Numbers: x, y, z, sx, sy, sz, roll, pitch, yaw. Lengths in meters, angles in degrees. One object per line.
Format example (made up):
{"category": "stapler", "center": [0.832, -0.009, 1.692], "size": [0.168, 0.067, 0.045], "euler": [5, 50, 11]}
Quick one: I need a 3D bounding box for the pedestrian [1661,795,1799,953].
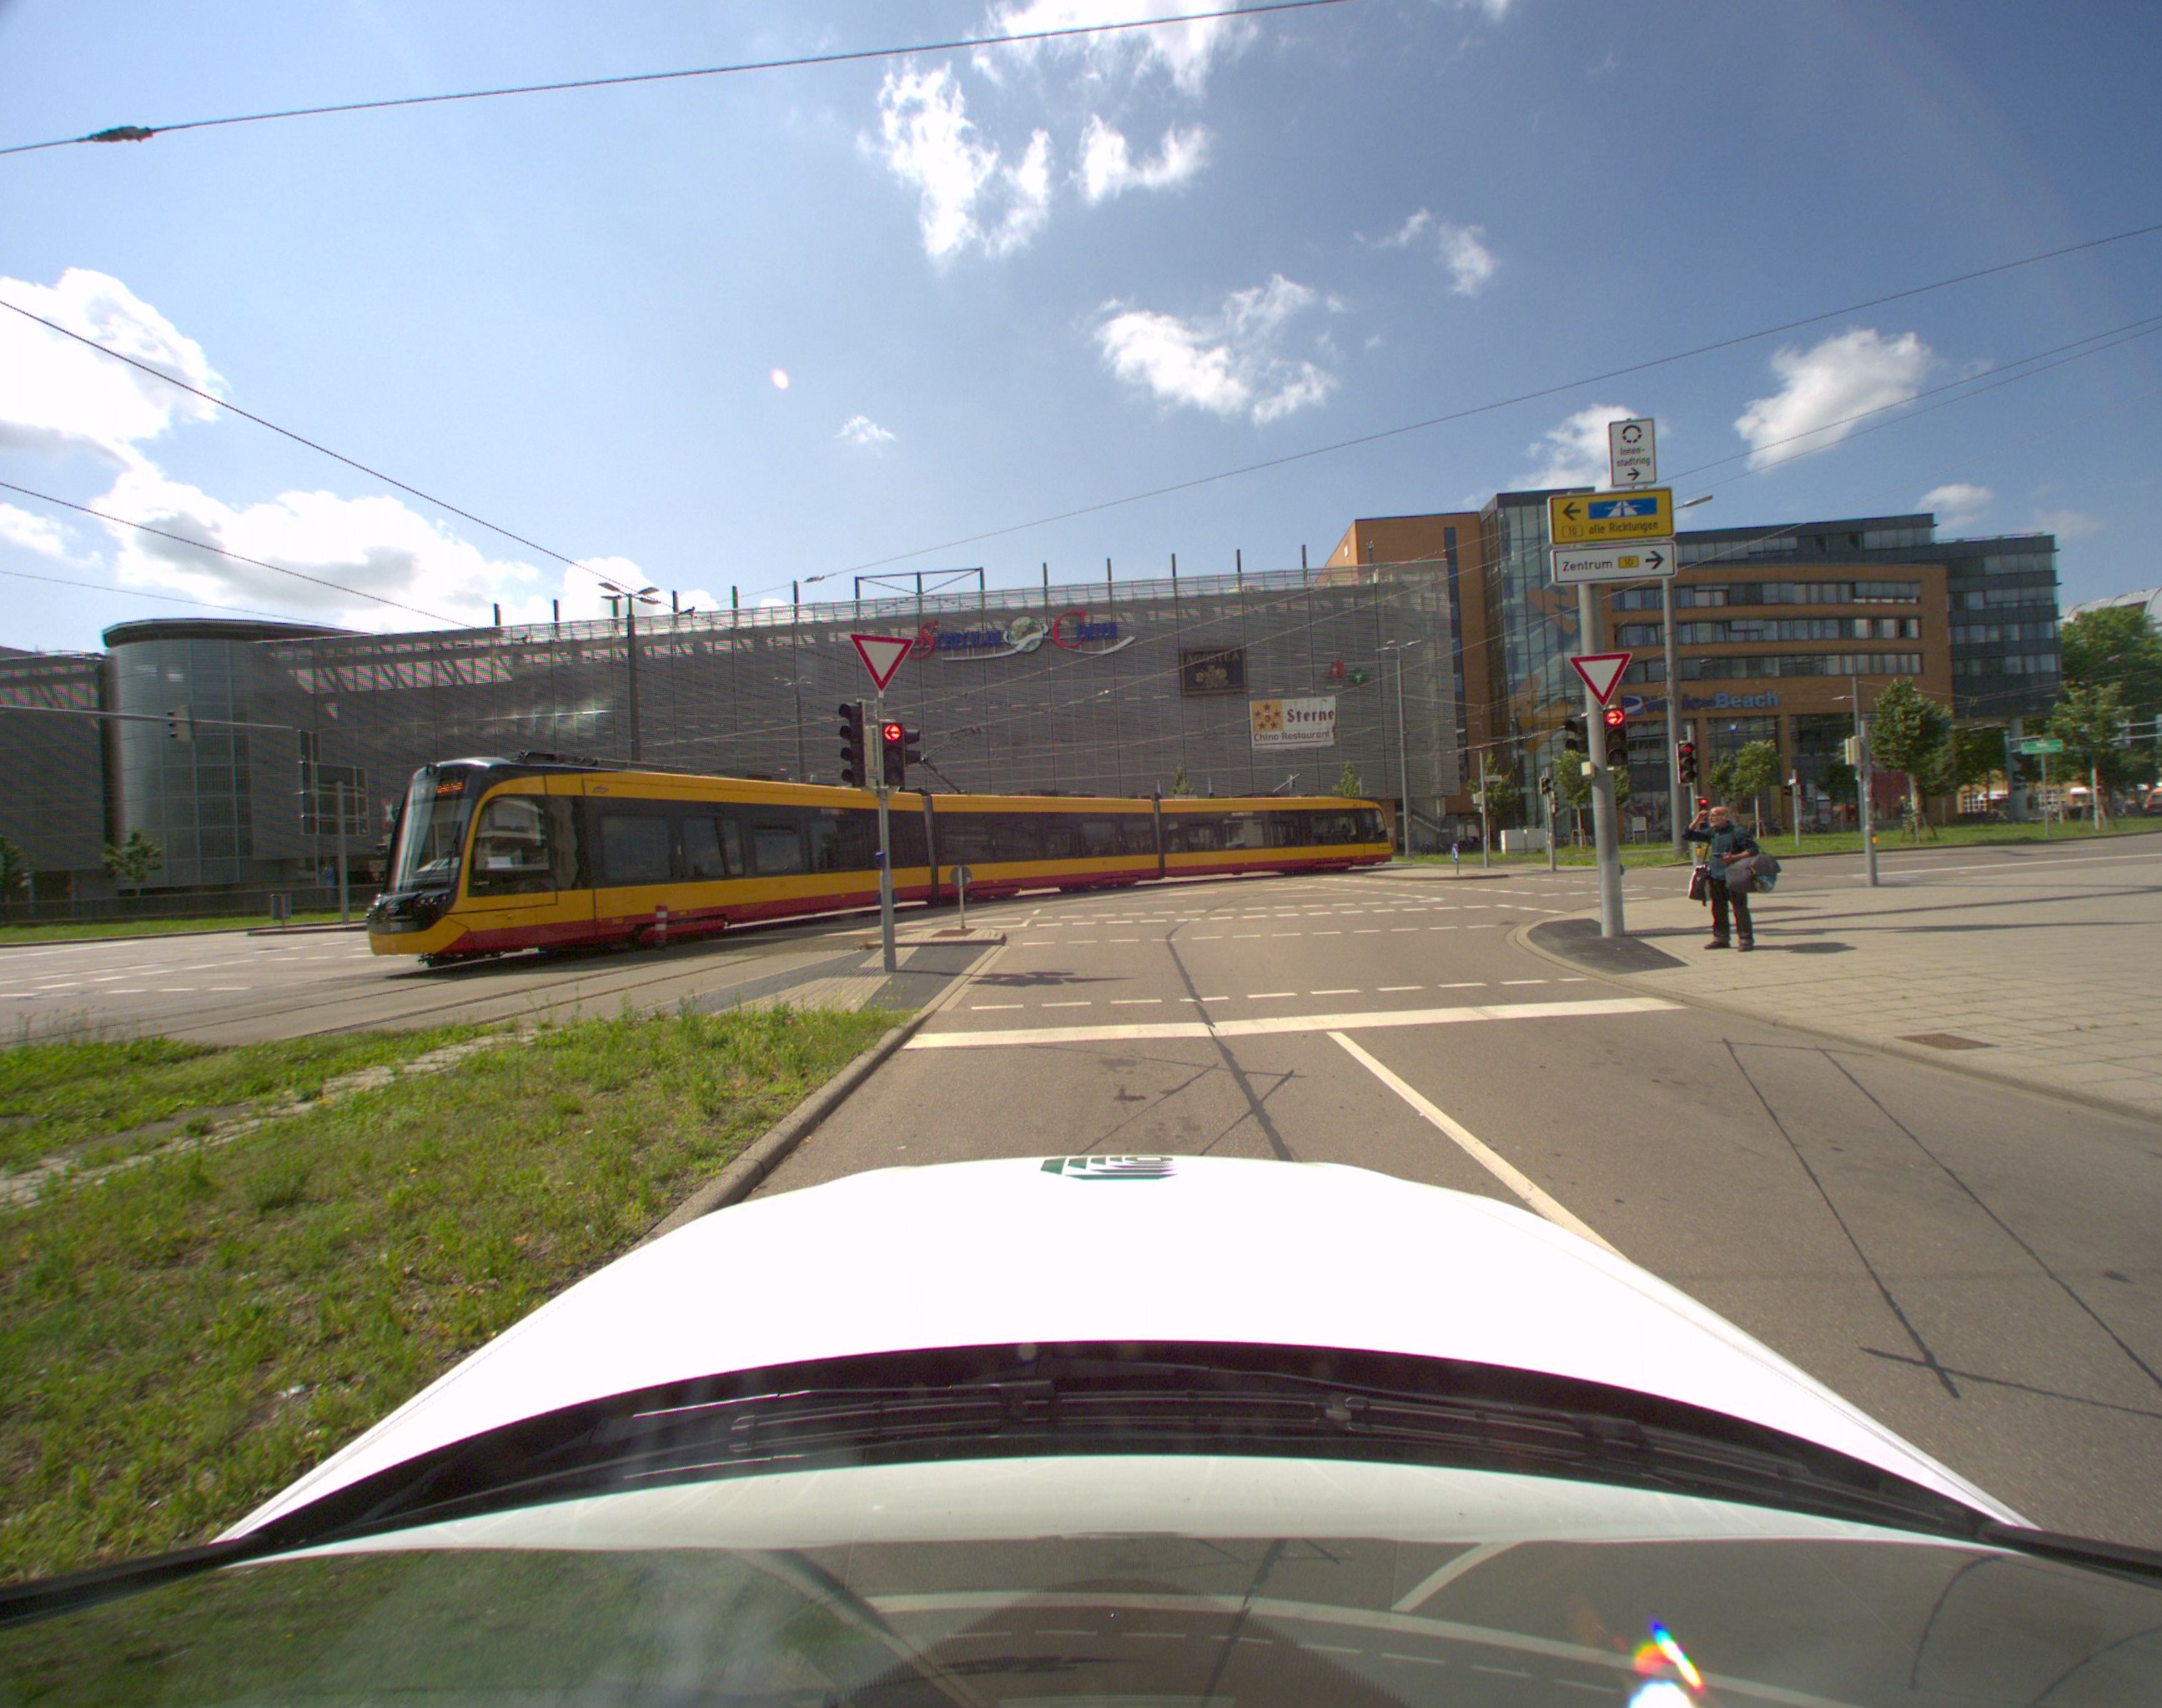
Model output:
{"category": "pedestrian", "center": [7.536, 0.219, 9.486], "size": [0.810, 1.702, 0.911], "euler": [-4, -1, -25]}

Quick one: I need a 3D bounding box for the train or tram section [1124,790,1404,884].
{"category": "train or tram section", "center": [8.199, -0.853, 35.514], "size": [12.657, 3.621, 3.040], "euler": [-2, 0, -25]}

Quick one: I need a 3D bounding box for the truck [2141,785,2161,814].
{"category": "truck", "center": [82.610, -4.138, 61.090], "size": [5.518, 2.085, 1.989], "euler": [-2, 0, -17]}

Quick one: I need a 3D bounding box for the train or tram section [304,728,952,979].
{"category": "train or tram section", "center": [-8.072, -0.109, 18.501], "size": [3.187, 3.599, 13.577], "euler": [-2, 0, 24]}

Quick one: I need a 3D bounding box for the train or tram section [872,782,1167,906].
{"category": "train or tram section", "center": [-1.629, -0.415, 28.556], "size": [3.026, 3.603, 11.060], "euler": [-2, 1, 43]}
